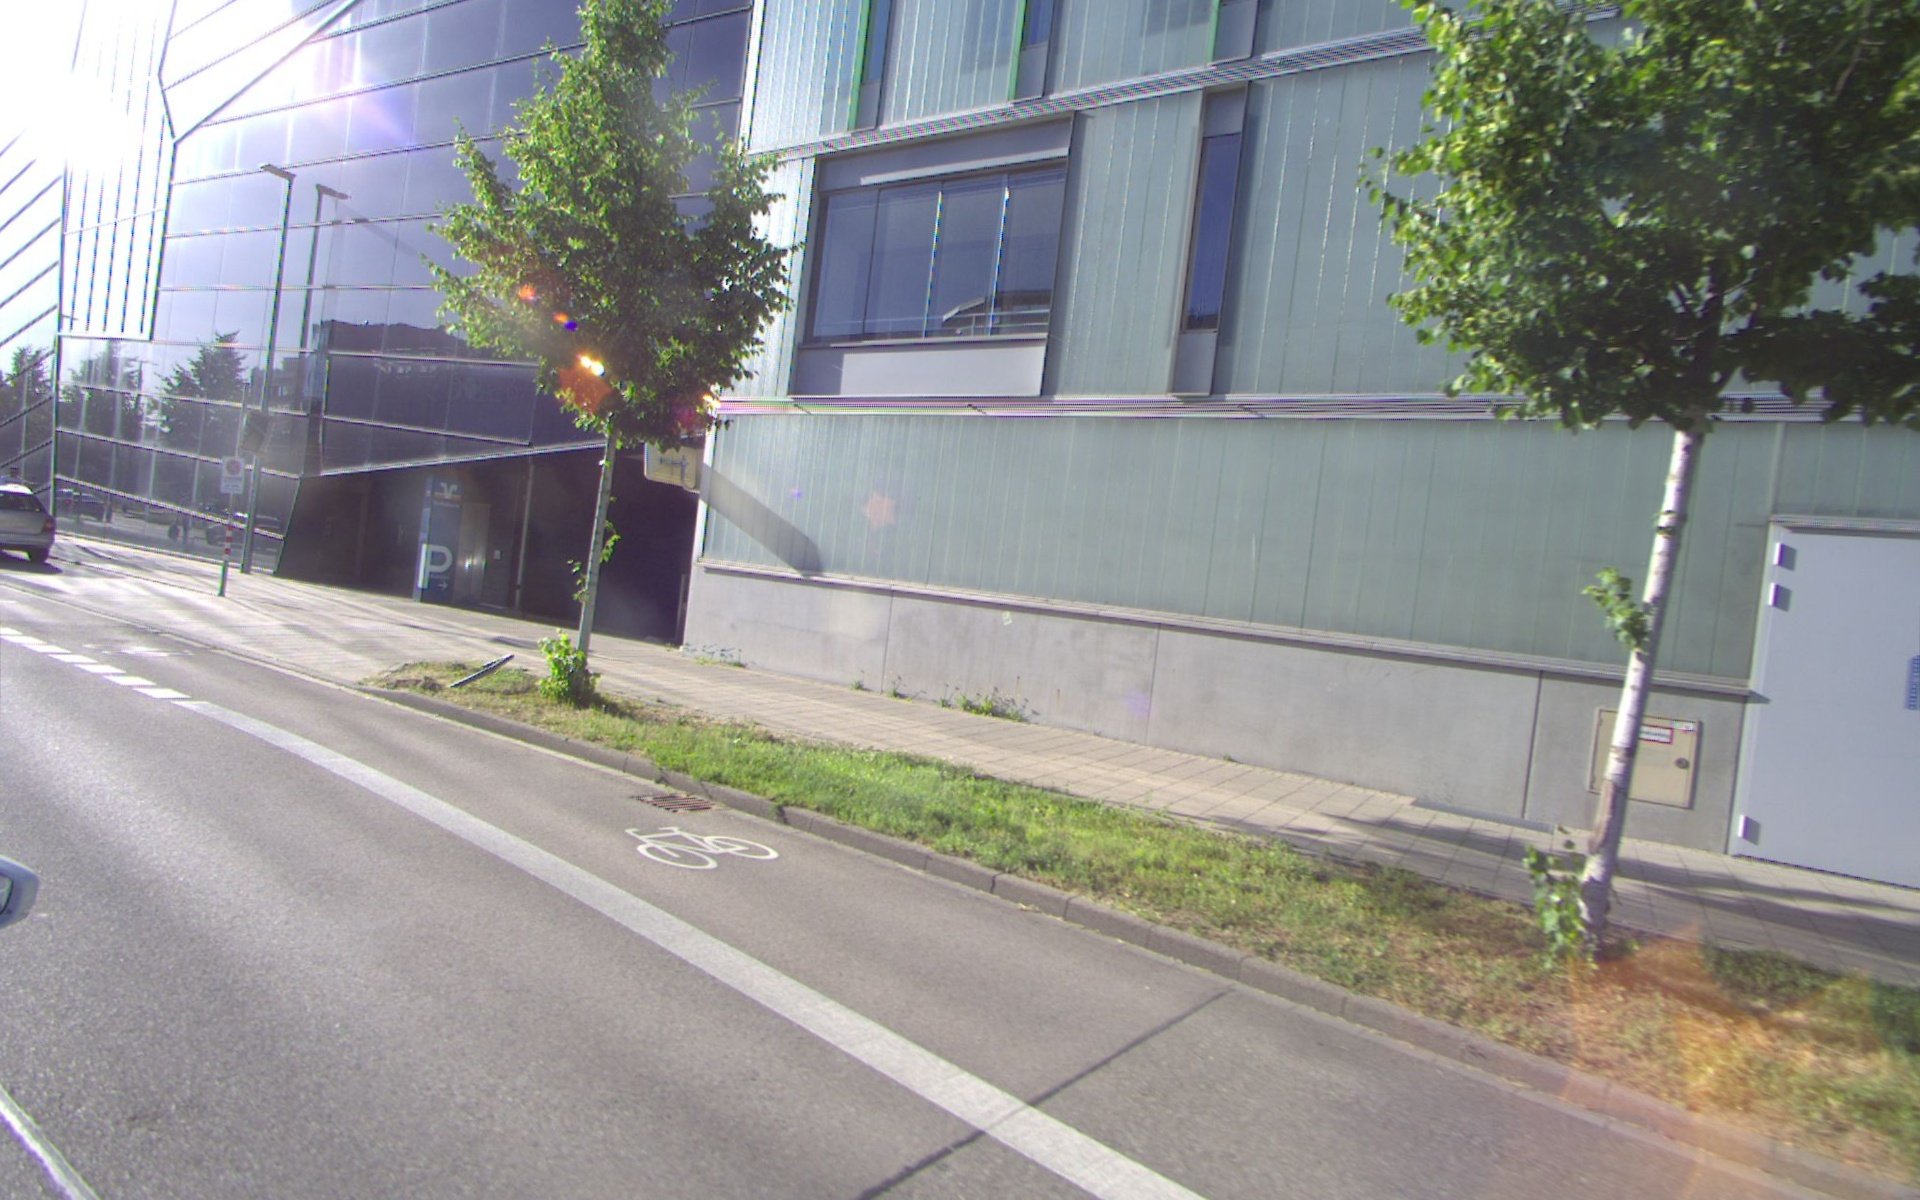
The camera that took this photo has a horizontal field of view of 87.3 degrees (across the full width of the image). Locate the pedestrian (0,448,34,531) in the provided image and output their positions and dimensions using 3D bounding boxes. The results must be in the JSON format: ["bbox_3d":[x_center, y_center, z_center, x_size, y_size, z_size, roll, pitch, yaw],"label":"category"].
[{"bbox_3d":[-24.611,-2.861,25.953,0.678,2.040,0.836,8,2,33],"label":"pedestrian"}]

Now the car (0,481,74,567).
[{"bbox_3d":[-20.154,-1.708,20.463,4.773,1.500,1.853,8,2,32],"label":"car"}]
